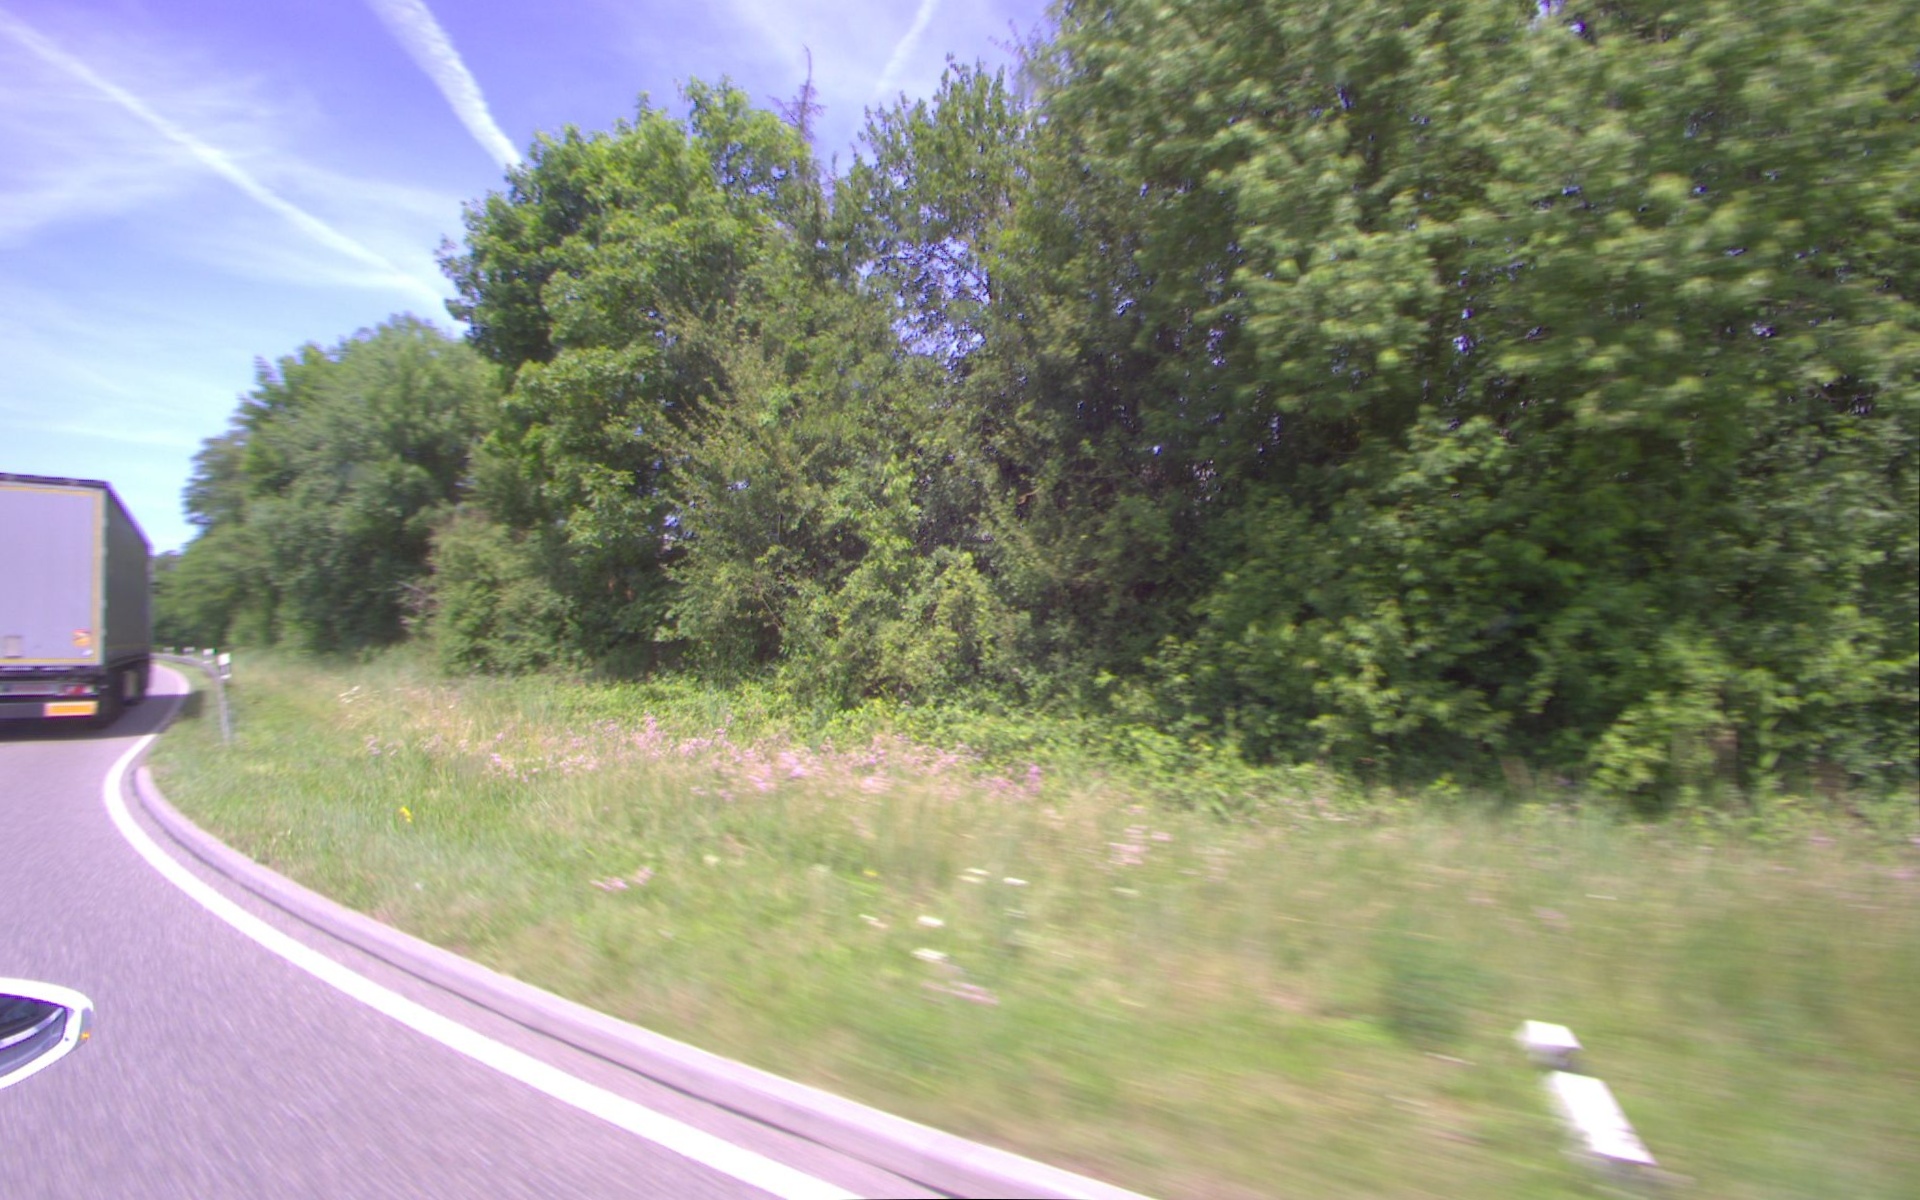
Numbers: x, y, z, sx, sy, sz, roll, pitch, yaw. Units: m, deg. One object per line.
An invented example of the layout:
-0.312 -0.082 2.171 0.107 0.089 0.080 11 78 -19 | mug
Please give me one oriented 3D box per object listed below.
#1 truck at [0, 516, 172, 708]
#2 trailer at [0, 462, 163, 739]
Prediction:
-22.527 0.416 25.884 3.125 4.278 7.072 1 -3 -37 | truck
-18.243 0.251 20.043 3.000 4.085 13.259 1 -3 -36 | trailer
